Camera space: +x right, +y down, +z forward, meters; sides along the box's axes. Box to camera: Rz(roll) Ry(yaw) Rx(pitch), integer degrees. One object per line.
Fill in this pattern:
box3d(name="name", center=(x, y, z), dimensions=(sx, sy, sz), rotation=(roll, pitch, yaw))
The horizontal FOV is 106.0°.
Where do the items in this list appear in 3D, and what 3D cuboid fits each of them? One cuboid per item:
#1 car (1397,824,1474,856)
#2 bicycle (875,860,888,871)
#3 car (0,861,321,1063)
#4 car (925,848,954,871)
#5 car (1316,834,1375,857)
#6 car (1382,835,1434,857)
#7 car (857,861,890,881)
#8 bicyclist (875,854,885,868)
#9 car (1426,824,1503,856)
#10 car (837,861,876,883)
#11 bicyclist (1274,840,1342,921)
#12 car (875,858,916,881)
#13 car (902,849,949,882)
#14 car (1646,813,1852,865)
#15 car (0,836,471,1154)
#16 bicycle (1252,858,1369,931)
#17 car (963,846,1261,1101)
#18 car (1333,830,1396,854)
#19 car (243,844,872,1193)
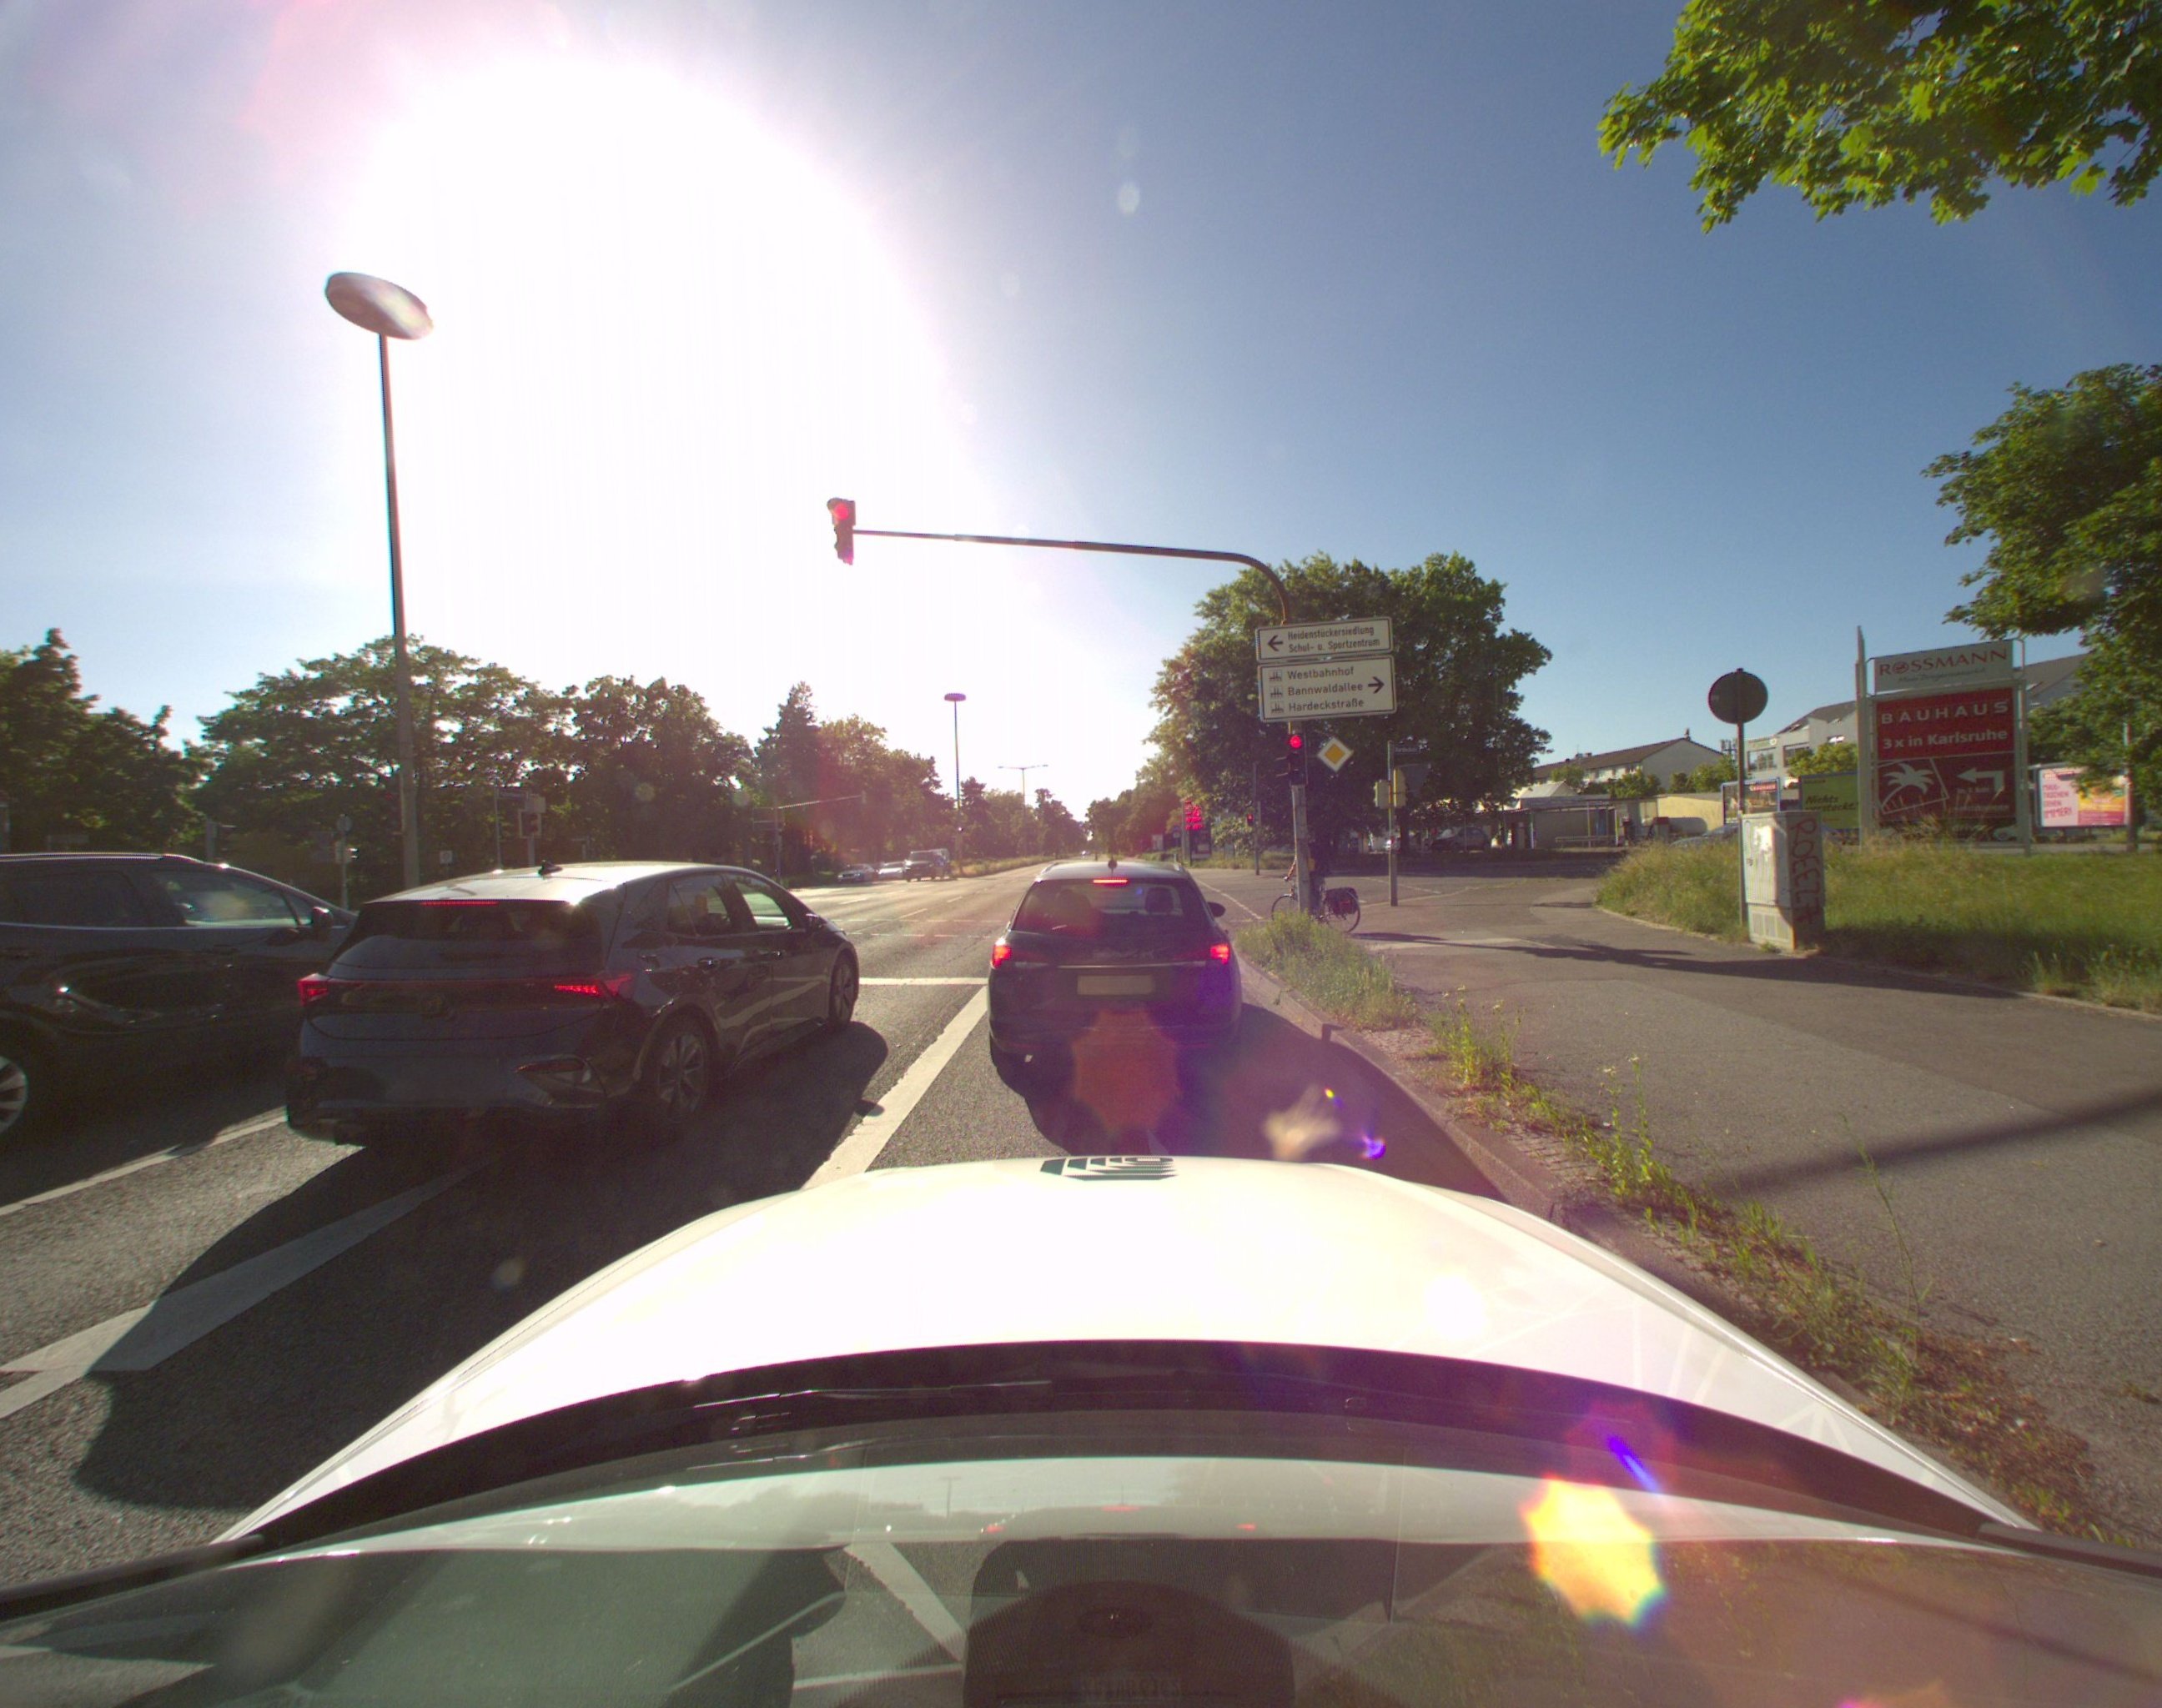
box3d(name="car", center=(21.491, -0.836, 49.411), dimensions=(4.003, 1.750, 1.985), rotation=(-3, 0, -22))
box3d(name="bicycle", center=(-23.124, 1.355, 94.323), dimensions=(0.873, 1.212, 2.534), rotation=(-3, 0, -2))
box3d(name="car", center=(-10.223, 0.985, 7.921), dimensions=(1.824, 1.702, 3.999), rotation=(-3, 0, 0))
box3d(name="car", center=(-16.464, 0.568, 95.061), dimensions=(2.092, 2.492, 6.006), rotation=(-3, 0, 2))
box3d(name="car", center=(19.328, -0.618, 59.525), dimensions=(3.903, 1.517, 1.733), rotation=(-3, 0, -21))
box3d(name="car", center=(28.437, -0.684, 70.810), dimensions=(4.003, 1.680, 1.733), rotation=(-3, 0, -22))
box3d(name="car", center=(-17.509, 1.449, 68.842), dimensions=(1.681, 1.509, 4.003), rotation=(-3, 0, 0))
box3d(name="bicyclist", center=(-23.203, 0.790, 93.956), dimensions=(0.873, 1.648, 1.198), rotation=(-3, 0, -2))
box3d(name="car", center=(22.378, -0.817, 47.526), dimensions=(4.002, 1.680, 1.733), rotation=(-3, 0, -21))
box3d(name="car", center=(-17.164, 1.384, 62.373), dimensions=(1.680, 1.509, 4.005), rotation=(-3, 0, 2))
box3d(name="bicyclist", center=(3.719, 0.439, 13.375), dimensions=(0.541, 1.277, 0.819), rotation=(-3, -2, -42))
box3d(name="car", center=(-13.972, 1.156, 61.615), dimensions=(1.881, 1.524, 4.506), rotation=(-3, 0, 2))
box3d(name="car", center=(-10.293, 0.745, 54.211), dimensions=(1.904, 1.992, 5.017), rotation=(-3, 0, 2))
box3d(name="car", center=(22.326, -0.486, 27.438), dimensions=(4.969, 1.486, 2.007), rotation=(-2, 0, 13))
box3d(name="car", center=(-6.619, 0.785, 5.518), dimensions=(1.798, 1.689, 4.002), rotation=(-3, 0, 2))
box3d(name="bicycle", center=(3.732, 0.685, 13.372), dimensions=(0.541, 1.097, 1.755), rotation=(-3, -2, -42))
box3d(name="car", center=(0.250, 0.723, 6.964), dimensions=(1.750, 1.495, 4.208), rotation=(-1, 0, 2))
box3d(name="car", center=(19.662, -0.825, 56.433), dimensions=(3.903, 1.517, 1.733), rotation=(-3, 0, -21))
box3d(name="car", center=(-2.959, 0.770, 5.855), dimensions=(1.678, 1.580, 4.208), rotation=(-1, 0, 2))
